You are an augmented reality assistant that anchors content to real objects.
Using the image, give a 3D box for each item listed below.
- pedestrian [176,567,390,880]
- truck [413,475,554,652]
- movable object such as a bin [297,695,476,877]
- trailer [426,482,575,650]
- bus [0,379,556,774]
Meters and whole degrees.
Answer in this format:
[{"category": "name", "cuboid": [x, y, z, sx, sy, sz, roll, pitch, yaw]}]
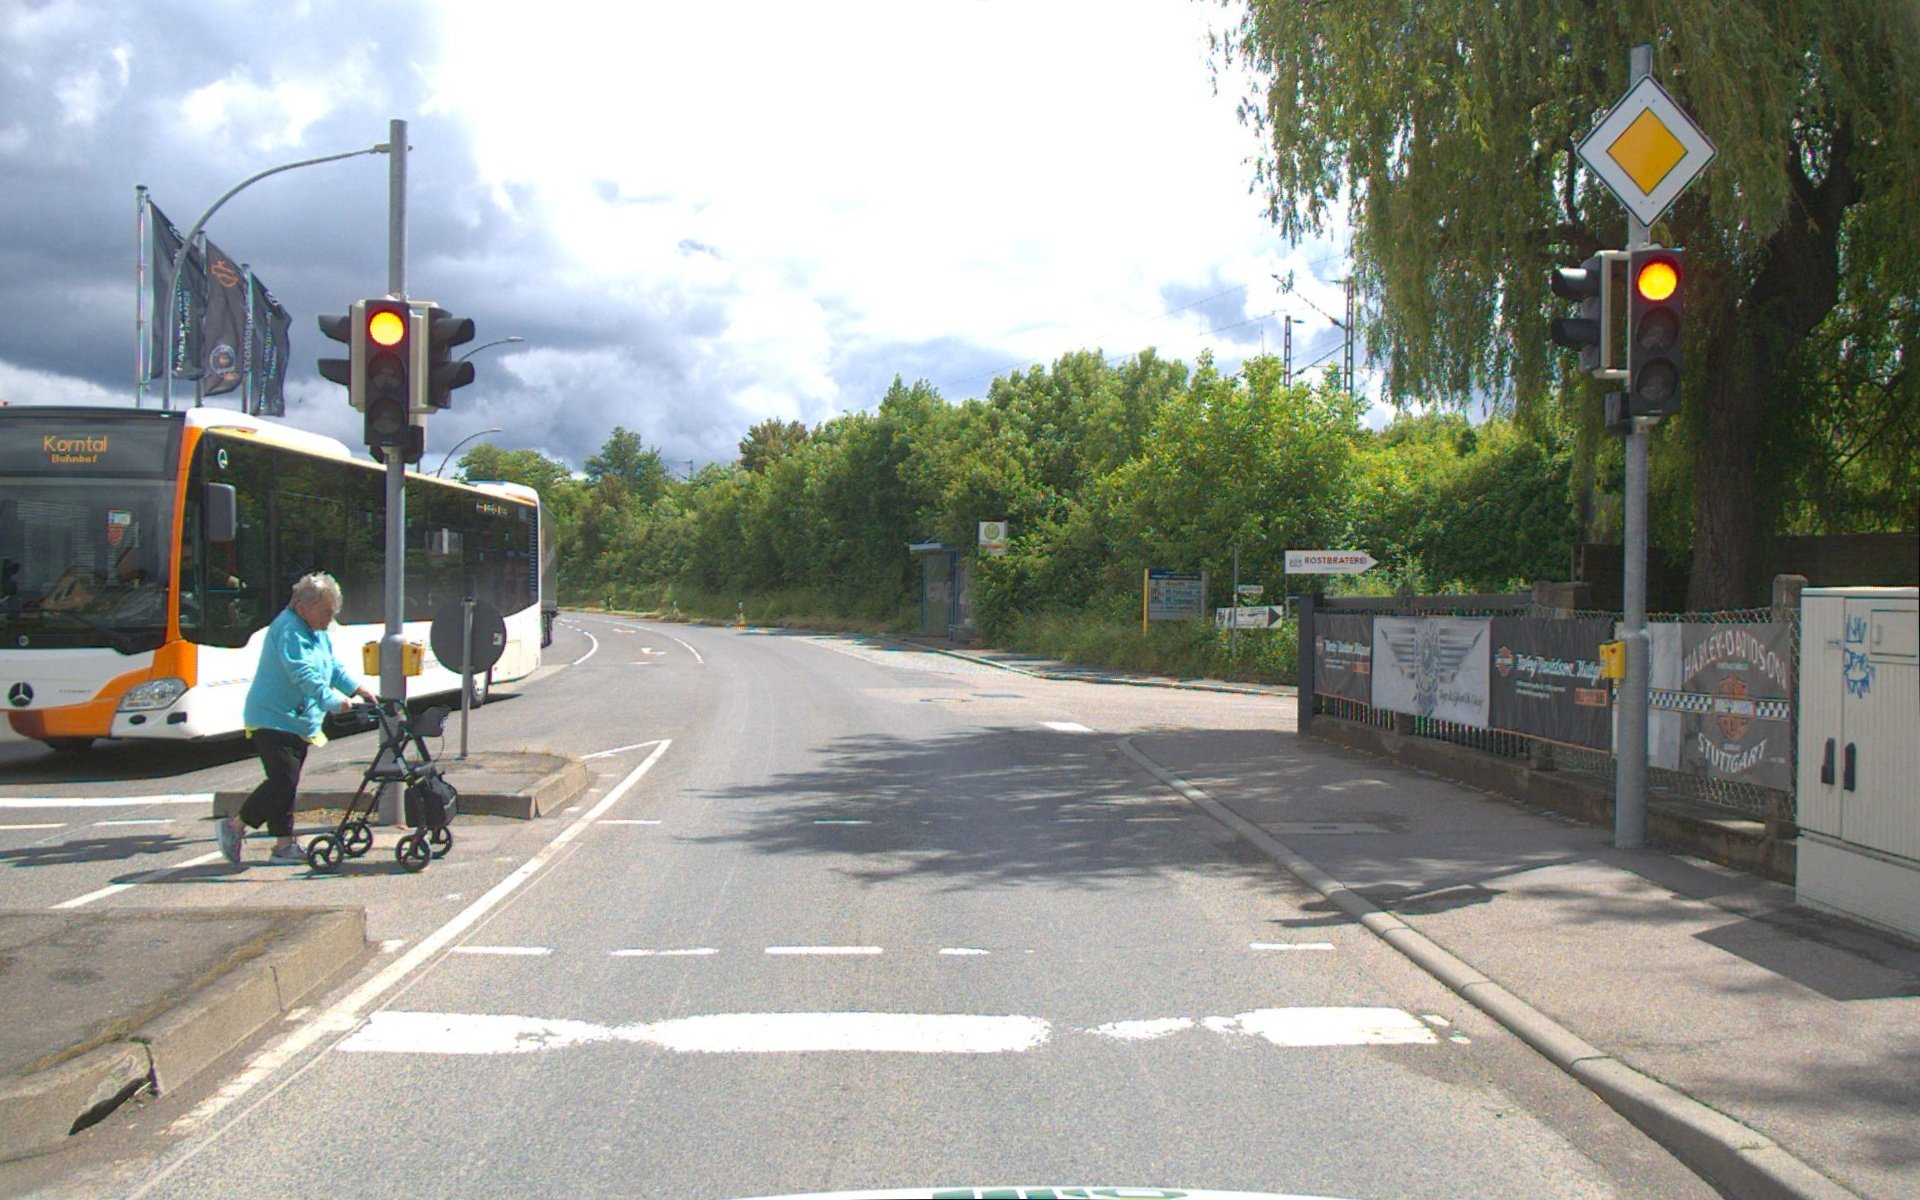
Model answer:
[{"category": "pedestrian", "cuboid": [-3.552, 0.629, 8.740, 0.822, 1.570, 0.733, 1, -1, -4]}, {"category": "truck", "cuboid": [-12.040, -0.841, 42.335, 2.748, 4.124, 6.484, 1, 0, -10]}, {"category": "movable object such as a bin", "cuboid": [-3.022, 0.971, 8.774, 0.731, 0.887, 0.670, 1, 0, -4]}, {"category": "trailer", "cuboid": [-13.197, -0.833, 48.808, 2.748, 4.124, 15.517, 1, 0, -10]}, {"category": "bus", "cuboid": [-7.396, -0.158, 19.049, 2.663, 3.084, 12.263, 0, 0, -1]}]
